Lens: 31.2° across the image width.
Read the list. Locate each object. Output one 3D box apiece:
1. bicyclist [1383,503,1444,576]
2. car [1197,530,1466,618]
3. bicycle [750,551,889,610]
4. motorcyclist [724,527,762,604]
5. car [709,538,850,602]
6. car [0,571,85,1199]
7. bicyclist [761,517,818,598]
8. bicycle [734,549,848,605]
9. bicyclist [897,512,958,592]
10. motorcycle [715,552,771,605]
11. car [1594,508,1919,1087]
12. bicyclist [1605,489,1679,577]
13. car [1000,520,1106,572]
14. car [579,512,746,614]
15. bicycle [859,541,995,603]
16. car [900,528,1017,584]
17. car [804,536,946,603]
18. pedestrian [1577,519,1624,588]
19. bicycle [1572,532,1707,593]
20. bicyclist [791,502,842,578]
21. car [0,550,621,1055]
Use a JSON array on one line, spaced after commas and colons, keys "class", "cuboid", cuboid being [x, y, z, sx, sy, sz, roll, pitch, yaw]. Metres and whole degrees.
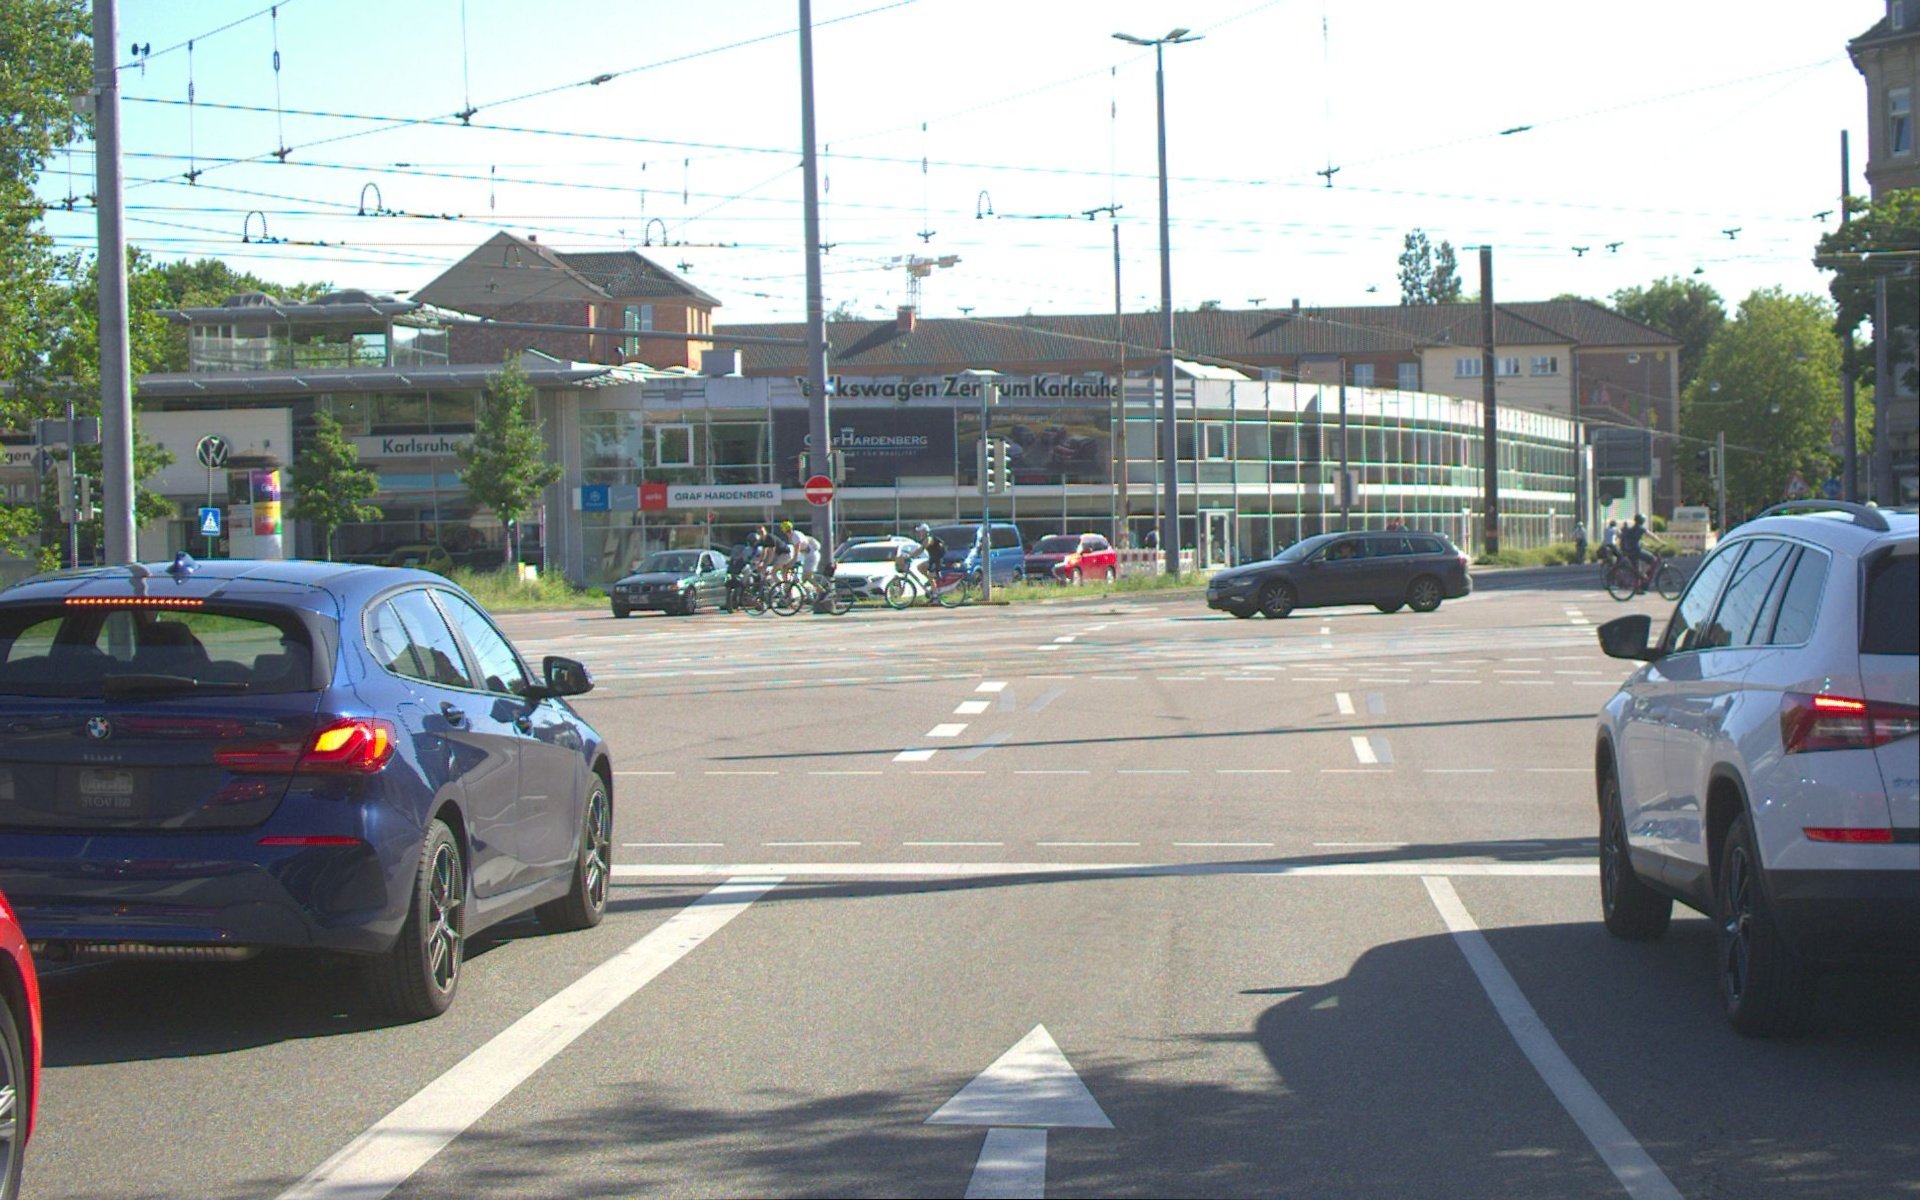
[{"class": "bicyclist", "cuboid": [10.100, -1.362, 76.573, 1.062, 1.578, 0.948, -1, 3, -14]}, {"class": "car", "cuboid": [6.550, -0.460, 60.684, 4.358, 1.437, 1.731, 1, 1, -17]}, {"class": "bicycle", "cuboid": [-2.716, -0.378, 66.378, 2.643, 1.091, 0.969, -1, 1, -2]}, {"class": "motorcyclist", "cuboid": [-4.601, -0.730, 72.815, 0.550, 1.615, 0.744, -1, 1, 17]}, {"class": "car", "cuboid": [-4.183, -0.719, 80.426, 1.727, 1.437, 4.180, 0, 1, 21]}, {"class": "car", "cuboid": [-2.828, 0.676, 5.558, 1.672, 1.437, 3.721, 1, 1, 3]}, {"class": "bicyclist", "cuboid": [-3.425, -0.854, 69.010, 0.985, 1.598, 0.759, -1, 1, -14]}, {"class": "bicycle", "cuboid": [-3.392, -0.466, 69.016, 2.177, 1.091, 0.759, -1, 1, -14]}, {"class": "bicyclist", "cuboid": [-0.671, -0.988, 70.535, 1.062, 1.578, 0.948, -1, 3, -14]}, {"class": "motorcycle", "cuboid": [-4.593, -0.465, 72.847, 0.562, 1.091, 1.834, -1, 1, 17]}, {"class": "car", "cuboid": [3.226, 0.533, 11.362, 1.877, 1.612, 3.624, 1, 1, 5]}, {"class": "bicyclist", "cuboid": [14.148, -1.391, 71.321, 1.183, 1.770, 0.948, -1, 3, -22]}, {"class": "car", "cuboid": [2.692, -1.542, 98.753, 1.727, 1.437, 4.180, 2, 1, 21]}, {"class": "car", "cuboid": [-6.356, -0.831, 73.903, 1.996, 2.006, 3.996, 1, 3, 22]}, {"class": "bicycle", "cuboid": [-0.681, -0.581, 70.567, 2.645, 1.184, 0.948, -1, 3, -14]}, {"class": "car", "cuboid": [-0.012, -1.173, 91.912, 1.727, 1.437, 4.180, 2, 1, 21]}, {"class": "car", "cuboid": [-1.896, -0.712, 77.811, 1.727, 1.437, 4.180, 0, 1, 21]}, {"class": "pedestrian", "cuboid": [15.385, -1.120, 82.578, 0.849, 1.605, 0.704, -2, 4, -32]}, {"class": "bicycle", "cuboid": [14.103, -0.789, 71.341, 2.645, 1.184, 0.948, -2, 3, -22]}, {"class": "bicyclist", "cuboid": [-2.772, -1.155, 66.357, 0.962, 1.444, 0.969, -1, 1, -2]}, {"class": "car", "cuboid": [-2.355, 0.567, 12.047, 1.725, 1.437, 3.798, 1, 1, 3]}]
